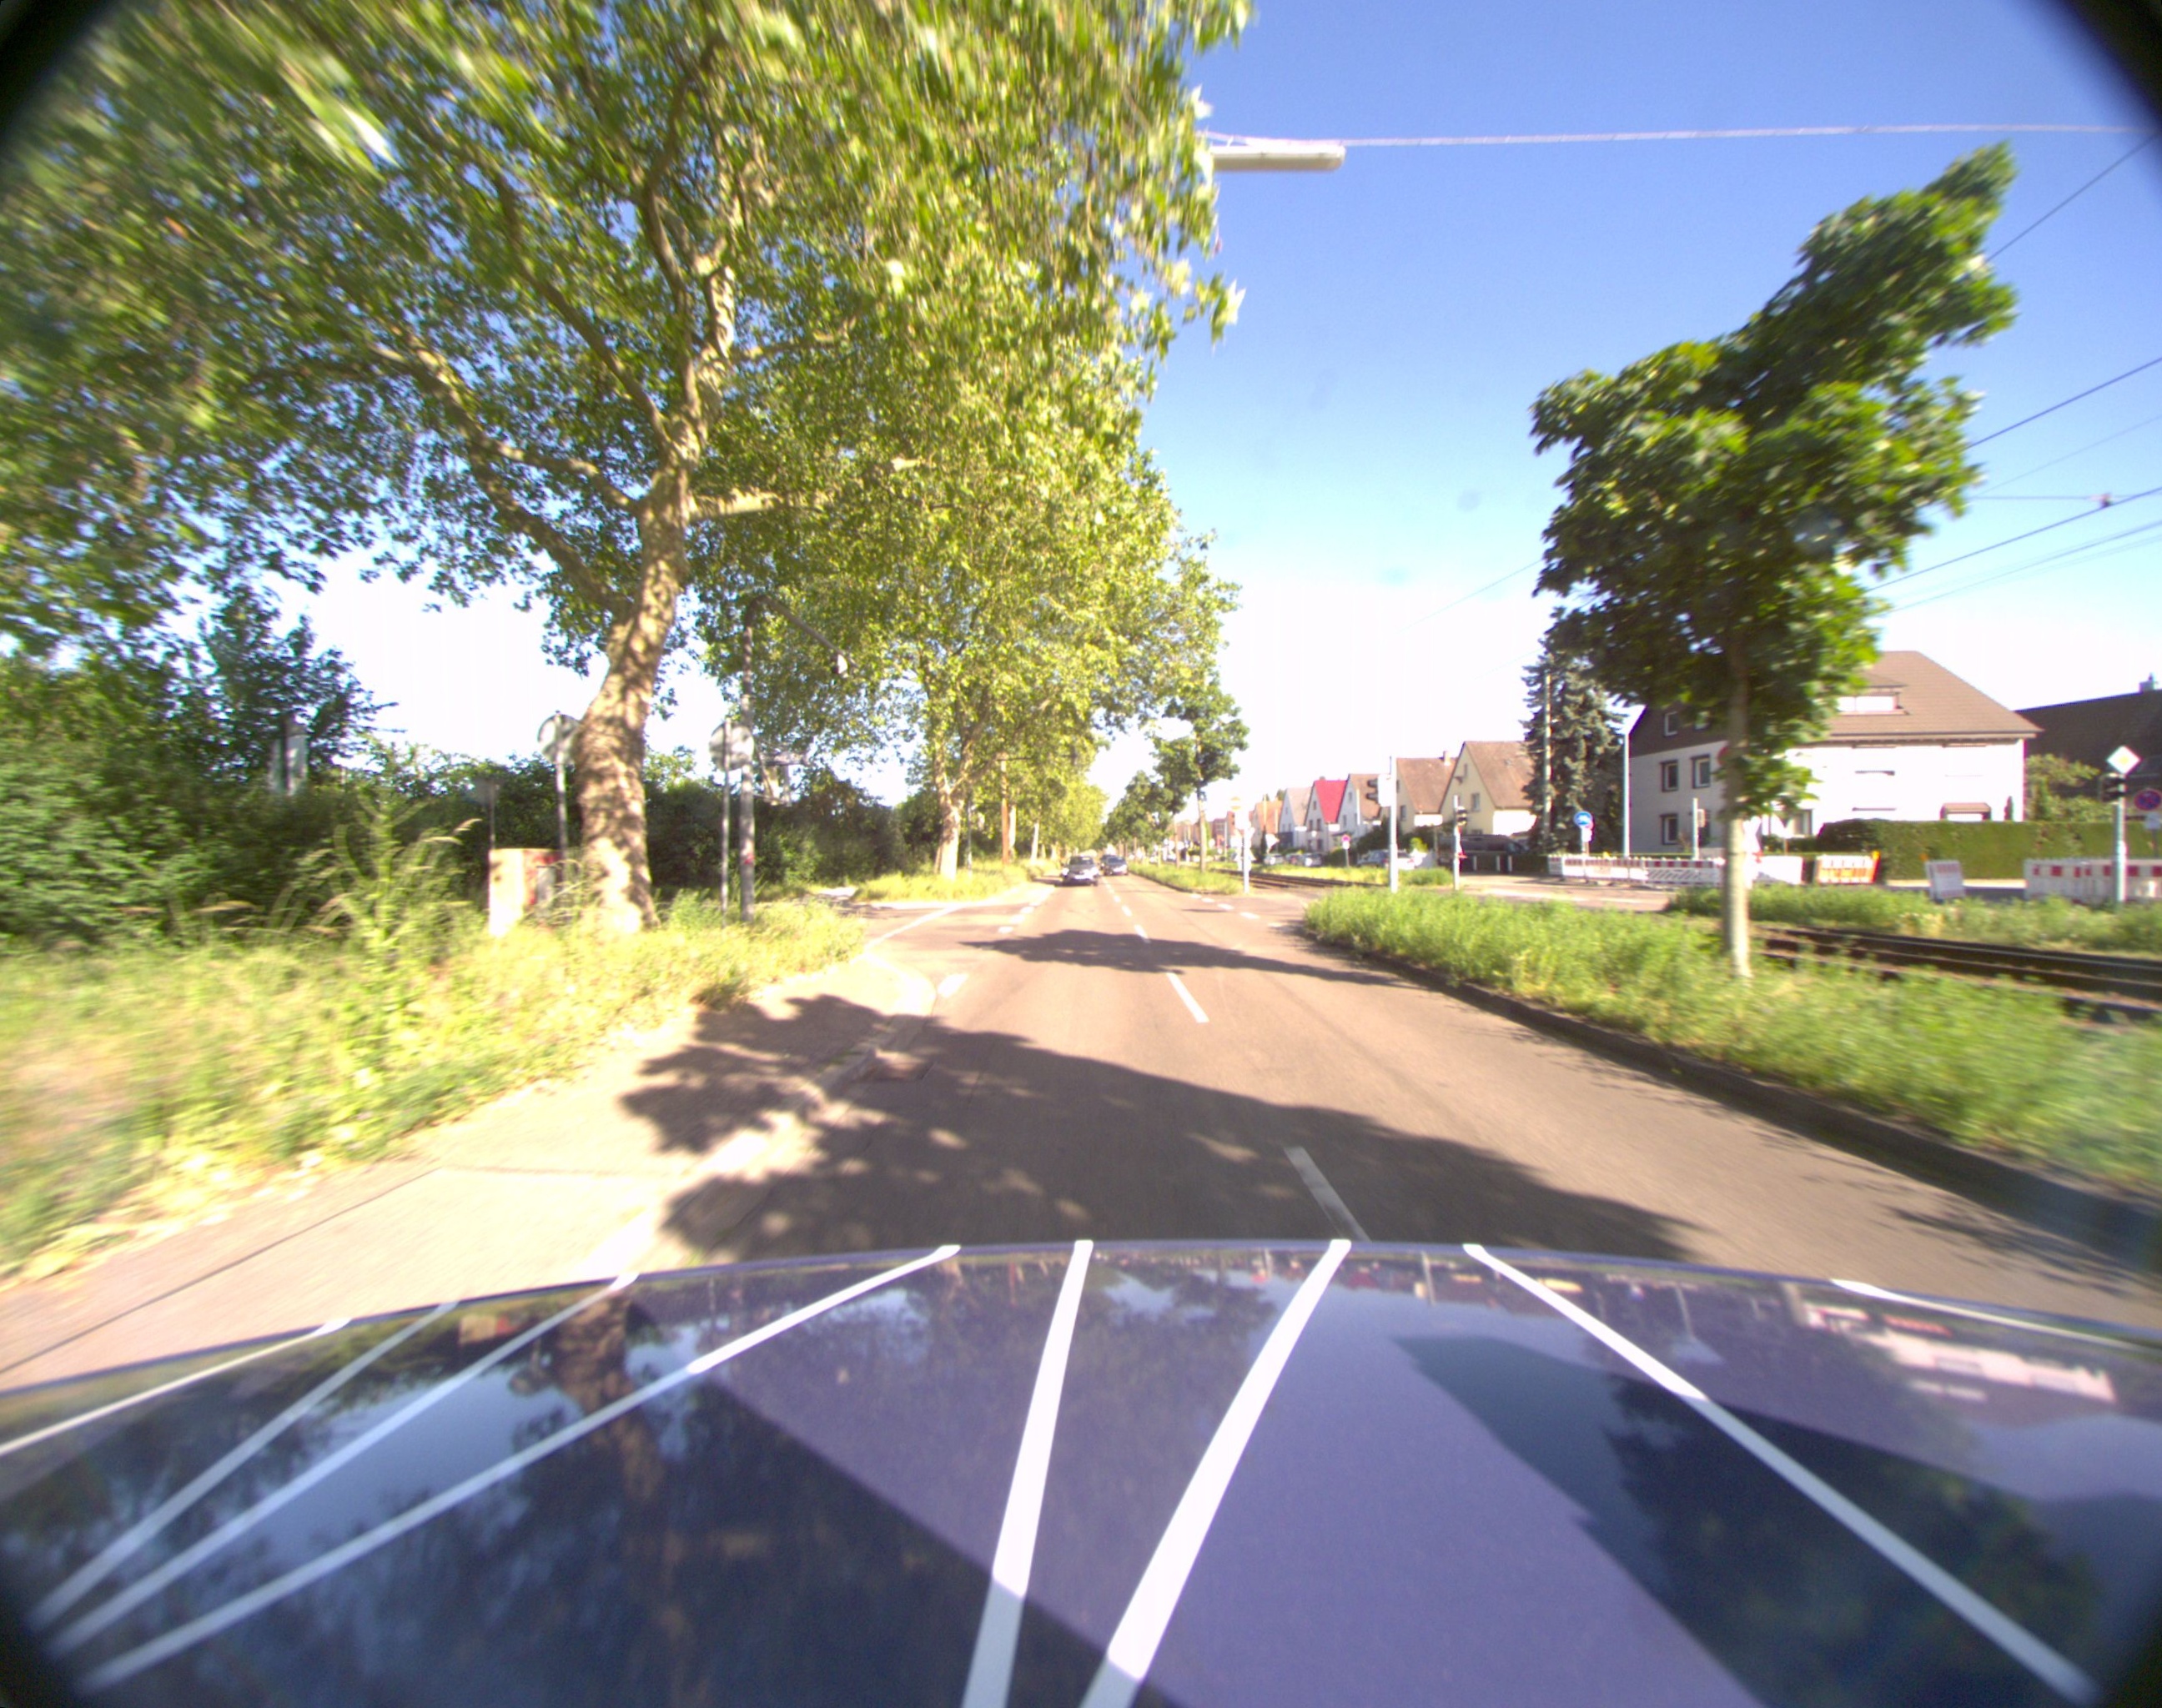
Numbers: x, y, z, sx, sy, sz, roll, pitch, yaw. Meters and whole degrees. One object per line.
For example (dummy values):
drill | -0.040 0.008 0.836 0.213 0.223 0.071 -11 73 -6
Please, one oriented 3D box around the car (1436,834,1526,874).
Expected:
car | 27.445 0.030 52.239 5.041 2.609 2.102 -1 0 1

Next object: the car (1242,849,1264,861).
car | 22.806 0.116 101.014 1.931 1.486 4.255 -2 0 1

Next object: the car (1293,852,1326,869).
car | 22.059 0.631 73.419 1.951 1.544 4.056 -2 0 1

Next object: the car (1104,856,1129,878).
car | 2.610 0.973 56.746 1.692 1.499 3.582 -2 0 1

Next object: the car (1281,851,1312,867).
car | 22.135 0.459 78.101 1.998 1.441 4.127 -4 0 1

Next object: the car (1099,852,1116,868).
car | 2.748 0.601 79.731 1.692 1.499 3.582 -2 0 1

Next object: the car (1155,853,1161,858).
car | 24.124 0.501 238.395 1.738 1.481 3.756 -2 0 1

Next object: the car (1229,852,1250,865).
car | 22.843 0.650 109.699 1.998 1.703 4.390 -2 0 1

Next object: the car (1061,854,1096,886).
car | -0.106 0.792 39.366 1.692 1.499 3.582 -3 0 1

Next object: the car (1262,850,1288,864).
car | 22.217 0.334 87.170 1.998 1.418 4.410 -2 0 2

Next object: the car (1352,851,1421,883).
car | 16.748 0.682 41.907 1.998 1.594 4.473 -2 0 0
